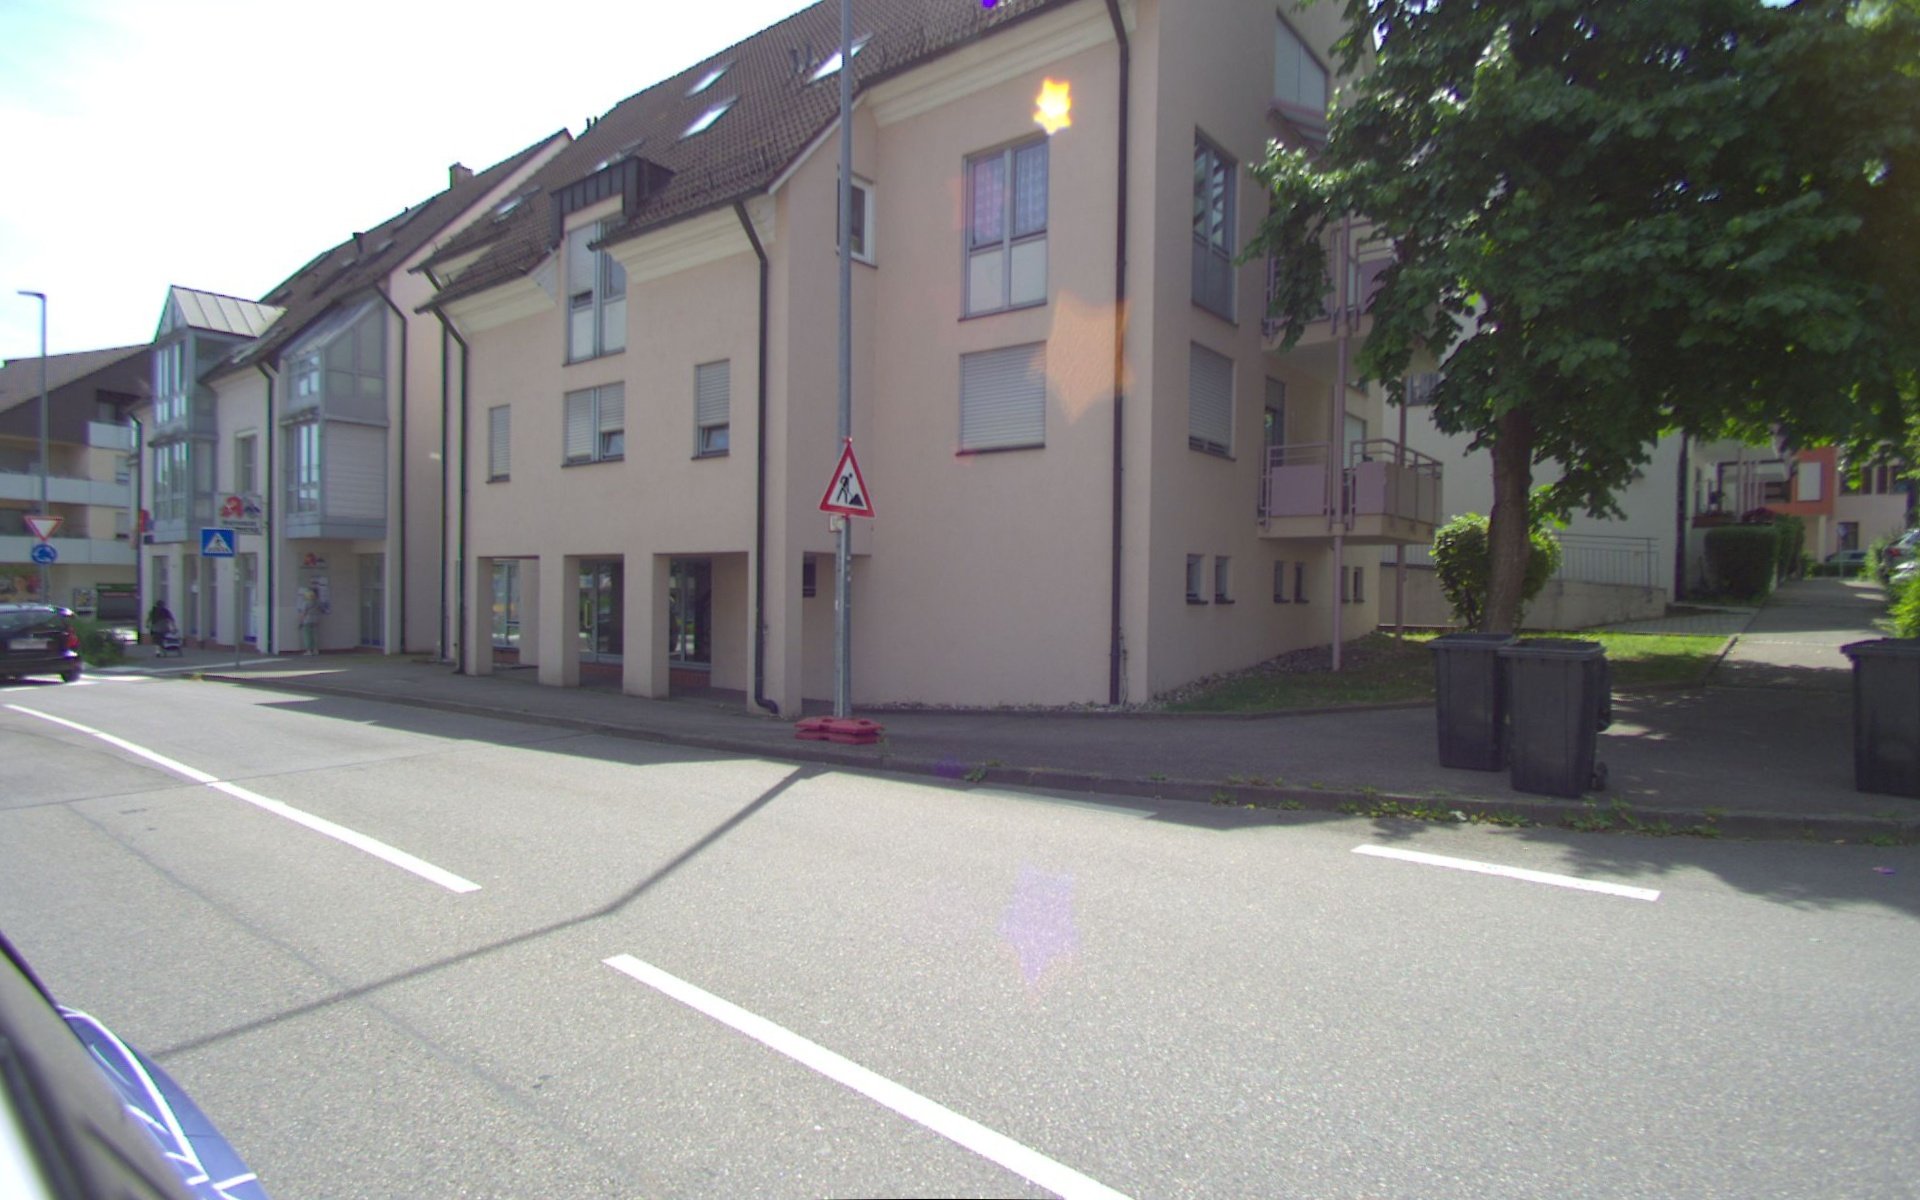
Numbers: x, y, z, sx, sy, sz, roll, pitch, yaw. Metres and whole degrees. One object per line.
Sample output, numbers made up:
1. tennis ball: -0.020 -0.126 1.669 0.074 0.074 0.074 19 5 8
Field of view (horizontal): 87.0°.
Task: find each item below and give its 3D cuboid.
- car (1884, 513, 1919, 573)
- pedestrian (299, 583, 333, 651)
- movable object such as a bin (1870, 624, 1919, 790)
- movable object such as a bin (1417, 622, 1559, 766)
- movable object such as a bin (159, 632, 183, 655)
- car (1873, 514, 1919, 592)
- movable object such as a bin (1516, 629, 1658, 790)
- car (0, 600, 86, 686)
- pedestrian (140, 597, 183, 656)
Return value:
1. car: 25.308 -1.455 24.648 4.118 1.429 1.971 -1 -1 43
2. pedestrian: -16.665 0.440 26.200 0.579 1.722 0.569 -1 1 42
3. movable object such as a bin: 6.532 0.710 6.787 0.609 1.007 0.763 2 5 43
4. movable object such as a bin: 4.158 0.700 7.966 0.805 1.008 0.792 -1 1 43
5. movable object such as a bin: -20.417 1.122 26.178 0.452 0.586 0.469 -1 0 -42
6. car: 21.386 -1.004 20.540 4.144 1.579 1.973 -1 0 41
7. movable object such as a bin: 4.373 0.718 7.052 0.694 1.008 0.842 -1 0 43
8. car: -19.352 0.820 20.349 3.935 1.596 1.737 -1 0 34
9. pedestrian: -20.805 0.681 26.355 0.790 1.489 0.958 -1 0 -43
